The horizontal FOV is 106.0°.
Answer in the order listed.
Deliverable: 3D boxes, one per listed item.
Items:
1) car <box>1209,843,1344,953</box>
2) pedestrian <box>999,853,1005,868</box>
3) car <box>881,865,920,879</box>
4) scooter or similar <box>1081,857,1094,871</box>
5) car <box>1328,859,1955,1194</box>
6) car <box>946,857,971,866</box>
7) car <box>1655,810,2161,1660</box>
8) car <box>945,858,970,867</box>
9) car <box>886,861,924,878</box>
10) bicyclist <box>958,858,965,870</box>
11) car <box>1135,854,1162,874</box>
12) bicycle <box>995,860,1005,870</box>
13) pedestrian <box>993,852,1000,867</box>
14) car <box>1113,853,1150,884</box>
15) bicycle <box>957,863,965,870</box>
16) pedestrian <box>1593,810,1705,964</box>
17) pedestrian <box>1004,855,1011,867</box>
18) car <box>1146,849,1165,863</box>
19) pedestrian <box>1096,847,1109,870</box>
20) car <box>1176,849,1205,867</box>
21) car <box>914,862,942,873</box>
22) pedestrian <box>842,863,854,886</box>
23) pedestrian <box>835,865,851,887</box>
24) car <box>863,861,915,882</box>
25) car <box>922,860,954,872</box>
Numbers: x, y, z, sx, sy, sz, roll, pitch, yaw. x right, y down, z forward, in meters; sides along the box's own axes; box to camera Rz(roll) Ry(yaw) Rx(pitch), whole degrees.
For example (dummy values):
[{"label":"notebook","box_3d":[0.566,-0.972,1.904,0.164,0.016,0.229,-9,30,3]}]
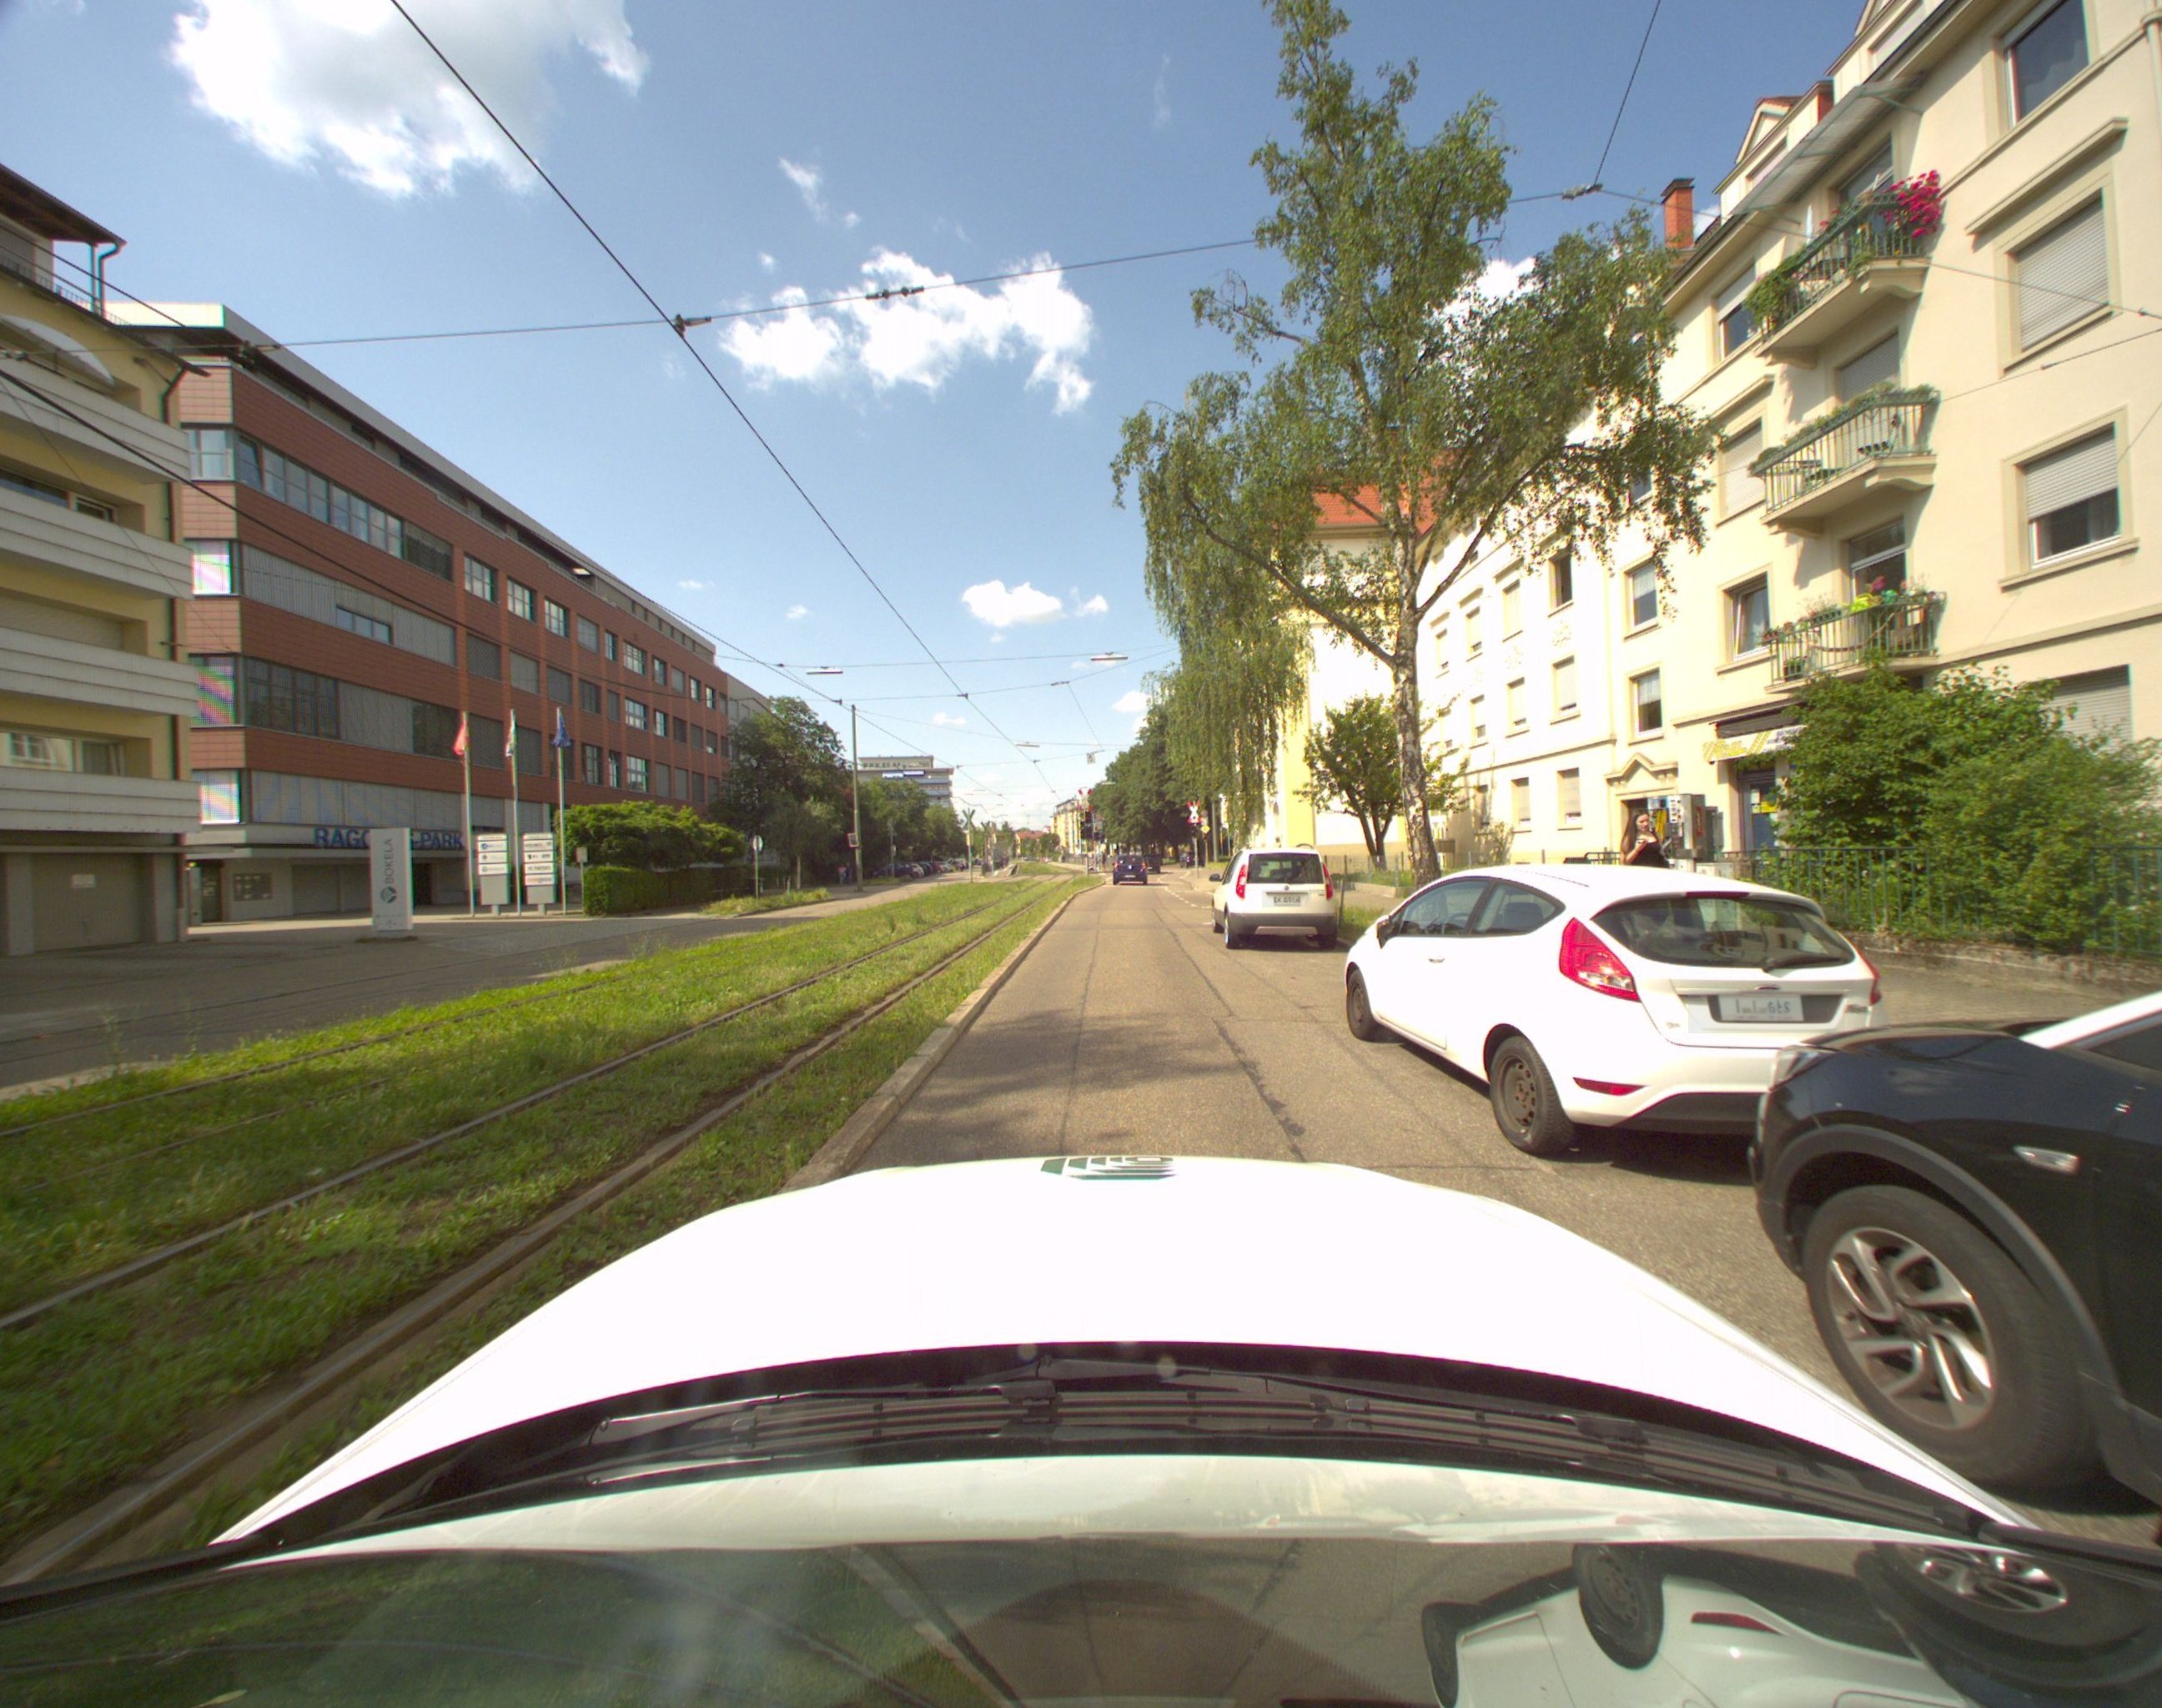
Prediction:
[{"label":"car","box_3d":[3.228,0.651,14.161,1.713,1.629,4.005,0,0,5]},{"label":"pedestrian","box_3d":[-9.554,0.829,98.515,0.601,1.766,0.640,-2,0,5]},{"label":"car","box_3d":[-17.339,1.714,78.300,3.408,1.236,1.525,-2,0,-43]},{"label":"scooter or similar","box_3d":[0.510,0.822,65.713,0.952,1.064,0.796,-4,0,-5]},{"label":"car","box_3d":[3.015,0.759,5.446,1.666,1.417,3.796,1,0,1]},{"label":"car","box_3d":[-21.446,1.364,142.458,4.020,1.447,1.708,-2,0,-38]},{"label":"car","box_3d":[2.742,0.708,0.996,1.488,1.579,3.759,0,0,1]},{"label":"car","box_3d":[-20.772,1.372,137.242,1.618,1.385,4.025,-2,0,41]},{"label":"car","box_3d":[-17.589,1.562,81.435,3.407,1.505,1.526,-2,0,-42]},{"label":"bicyclist","box_3d":[-16.589,1.402,112.726,0.782,1.582,0.863,-3,0,-1]},{"label":"car","box_3d":[4.860,0.717,59.112,1.694,1.368,3.515,0,0,0]},{"label":"bicycle","box_3d":[-8.589,1.121,86.624,0.682,0.974,1.774,-5,0,6]},{"label":"pedestrian","box_3d":[-9.630,0.579,93.155,0.653,1.692,0.655,-3,0,-3]},{"label":"car","box_3d":[2.555,0.709,41.078,1.760,1.462,3.779,0,0,3]},{"label":"bicycle","box_3d":[-16.627,1.740,112.610,0.678,0.971,2.178,-3,0,0]},{"label":"pedestrian","box_3d":[6.591,0.368,9.486,0.726,1.683,0.691,-4,0,4]},{"label":"pedestrian","box_3d":[-8.966,0.889,99.261,0.648,1.426,0.567,-3,0,33]},{"label":"car","box_3d":[8.540,0.267,93.825,1.854,1.445,4.002,-4,0,2]},{"label":"pedestrian","box_3d":[1.716,0.360,66.005,0.869,1.775,1.002,-4,0,-4]},{"label":"car","box_3d":[9.830,0.358,73.109,1.762,1.433,3.898,-3,0,-5]},{"label":"car","box_3d":[-19.206,1.693,102.106,1.437,1.309,3.267,-2,0,40]},{"label":"pedestrian","box_3d":[-17.356,1.522,60.627,0.554,1.657,0.748,-2,-1,5]},{"label":"pedestrian","box_3d":[-17.060,1.566,58.363,0.742,1.574,0.890,-2,-2,4]},{"label":"car","box_3d":[-17.100,1.524,72.473,4.156,1.640,1.704,-2,0,-43]},{"label":"car","box_3d":[-19.630,1.633,112.109,4.024,1.367,1.695,-3,0,-45]}]
